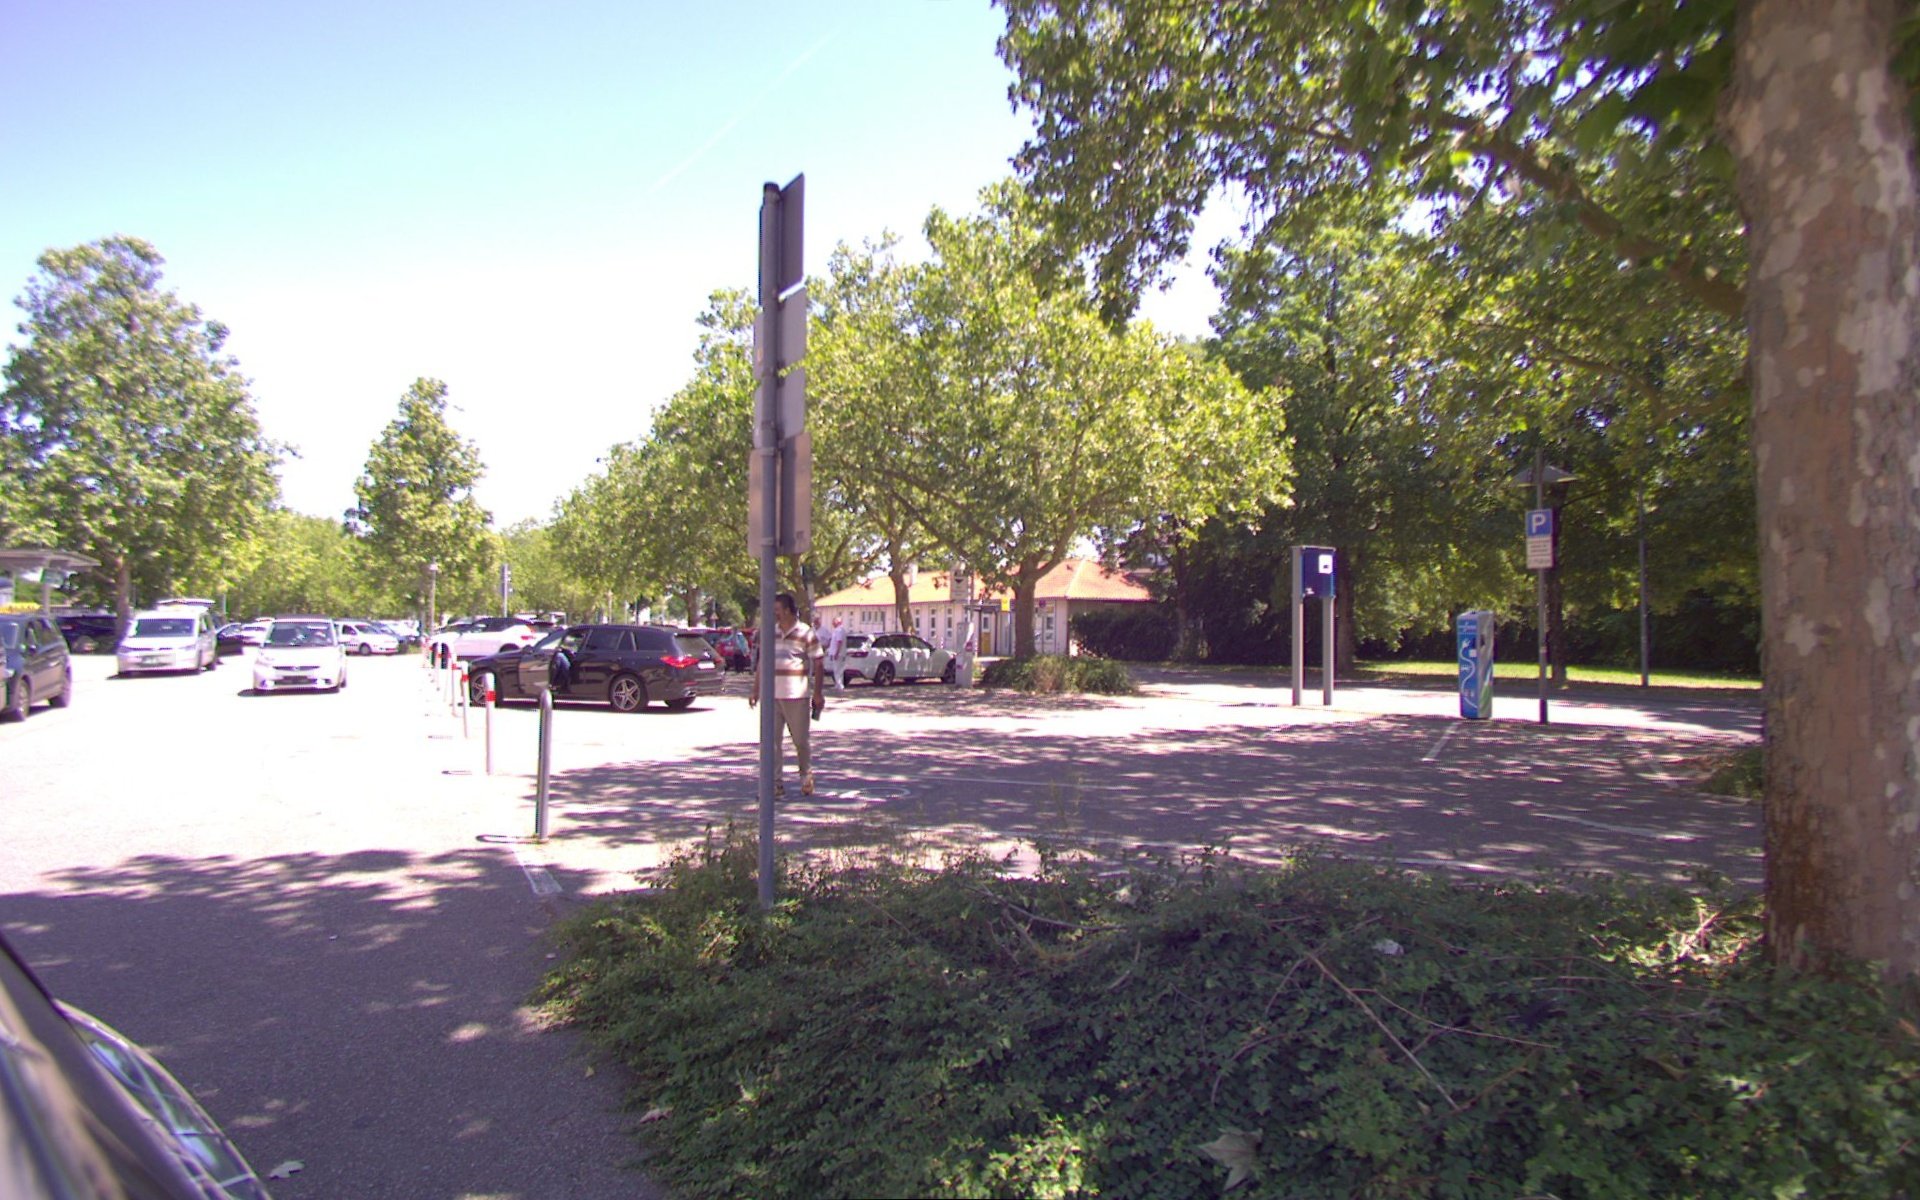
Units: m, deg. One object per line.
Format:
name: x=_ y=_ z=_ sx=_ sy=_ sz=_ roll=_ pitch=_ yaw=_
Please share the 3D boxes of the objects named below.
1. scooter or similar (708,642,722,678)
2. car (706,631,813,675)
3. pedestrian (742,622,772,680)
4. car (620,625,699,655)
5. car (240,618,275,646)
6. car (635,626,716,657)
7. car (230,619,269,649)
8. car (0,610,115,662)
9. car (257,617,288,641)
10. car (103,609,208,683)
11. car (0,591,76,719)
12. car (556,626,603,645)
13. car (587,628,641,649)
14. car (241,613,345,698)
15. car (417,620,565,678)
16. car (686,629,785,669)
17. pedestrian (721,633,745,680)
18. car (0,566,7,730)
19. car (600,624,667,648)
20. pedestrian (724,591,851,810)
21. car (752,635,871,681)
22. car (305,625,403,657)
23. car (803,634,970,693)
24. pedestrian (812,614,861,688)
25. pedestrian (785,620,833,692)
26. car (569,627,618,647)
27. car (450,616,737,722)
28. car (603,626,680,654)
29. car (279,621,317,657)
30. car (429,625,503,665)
scooter or similar: x=-7.709 y=1.893 z=31.816 sx=0.396 sy=1.110 sz=0.439 roll=1 pitch=-2 yaw=-11
car: x=-7.202 y=1.880 z=36.658 sx=1.631 sy=1.471 sz=3.834 roll=-1 pitch=-2 yaw=32
pedestrian: x=-5.522 y=1.384 z=27.551 sx=0.580 sy=1.560 sz=0.612 roll=3 pitch=-3 yaw=-34
car: x=-15.725 y=2.089 z=53.126 sx=1.631 sy=1.471 sz=3.834 roll=-1 pitch=-2 yaw=32
car: x=-49.975 y=2.242 z=71.991 sx=2.017 sy=1.854 sz=4.977 roll=-1 pitch=-1 yaw=-35
car: x=-14.342 y=2.073 z=51.226 sx=1.631 sy=1.471 sz=3.834 roll=-1 pitch=-2 yaw=32
car: x=-46.501 y=2.207 z=66.283 sx=2.017 sy=1.854 sz=4.977 roll=-1 pitch=-1 yaw=-35
car: x=-40.422 y=1.575 z=44.417 sx=4.880 sy=2.136 sz=2.057 roll=-1 pitch=-1 yaw=-31
car: x=-55.122 y=2.289 z=81.126 sx=2.017 sy=1.854 sz=4.977 roll=-1 pitch=-1 yaw=-35
car: x=-22.624 y=1.230 z=28.646 sx=1.971 sy=1.854 sz=5.331 roll=-1 pitch=-1 yaw=-35
car: x=-15.864 y=0.862 z=16.199 sx=2.046 sy=1.854 sz=4.852 roll=0 pitch=-2 yaw=-35
car: x=-28.972 y=2.668 z=77.046 sx=3.108 sy=1.405 sz=1.469 roll=1 pitch=-2 yaw=-36
car: x=-22.980 y=2.550 z=67.307 sx=3.108 sy=1.405 sz=1.469 roll=1 pitch=-2 yaw=-36
car: x=-13.658 y=1.088 z=20.851 sx=1.574 sy=1.605 sz=3.116 roll=1 pitch=-2 yaw=-30
car: x=-14.809 y=1.520 z=31.992 sx=4.026 sy=1.617 sz=1.792 roll=1 pitch=0 yaw=15
car: x=-8.867 y=1.913 z=40.214 sx=1.631 sy=1.471 sz=3.834 roll=-1 pitch=-2 yaw=32
pedestrian: x=-7.176 y=1.780 z=32.014 sx=0.679 sy=1.435 sz=0.803 roll=1 pitch=-2 yaw=-11
car: x=-11.934 y=0.550 z=10.549 sx=2.059 sy=2.140 sz=5.840 roll=0 pitch=-2 yaw=-35
car: x=-20.360 y=2.225 z=63.291 sx=1.631 sy=1.458 sz=3.834 roll=-1 pitch=-2 yaw=32
pedestrian: x=-1.427 y=0.804 z=8.491 sx=0.807 sy=1.730 sz=0.770 roll=0 pitch=-2 yaw=13
car: x=-4.867 y=1.873 z=33.677 sx=1.871 sy=1.416 sz=3.985 roll=-1 pitch=-2 yaw=31
car: x=-27.260 y=1.834 z=45.558 sx=3.475 sy=1.414 sz=1.797 roll=0 pitch=-2 yaw=11
car: x=-1.919 y=1.678 z=27.808 sx=1.785 sy=1.428 sz=4.713 roll=-1 pitch=-2 yaw=41
pedestrian: x=-3.054 y=1.252 z=25.060 sx=0.851 sy=1.784 sz=0.828 roll=-1 pitch=-2 yaw=40
pedestrian: x=-3.839 y=1.419 z=25.737 sx=0.851 sy=1.784 sz=0.827 roll=-1 pitch=-2 yaw=41
car: x=-26.817 y=2.702 z=74.038 sx=3.108 sy=1.405 sz=1.469 roll=1 pitch=-2 yaw=-36
car: x=-6.346 y=1.125 z=17.646 sx=4.486 sy=1.554 sz=1.793 roll=1 pitch=0 yaw=14
car: x=-17.232 y=2.164 z=54.910 sx=1.631 sy=1.471 sz=3.834 roll=-1 pitch=-2 yaw=32
car: x=-31.795 y=1.848 z=48.649 sx=1.432 sy=1.682 sz=3.115 roll=1 pitch=-2 yaw=-32
car: x=-24.837 y=2.212 z=50.850 sx=3.993 sy=1.908 sz=1.717 roll=-1 pitch=-2 yaw=37
